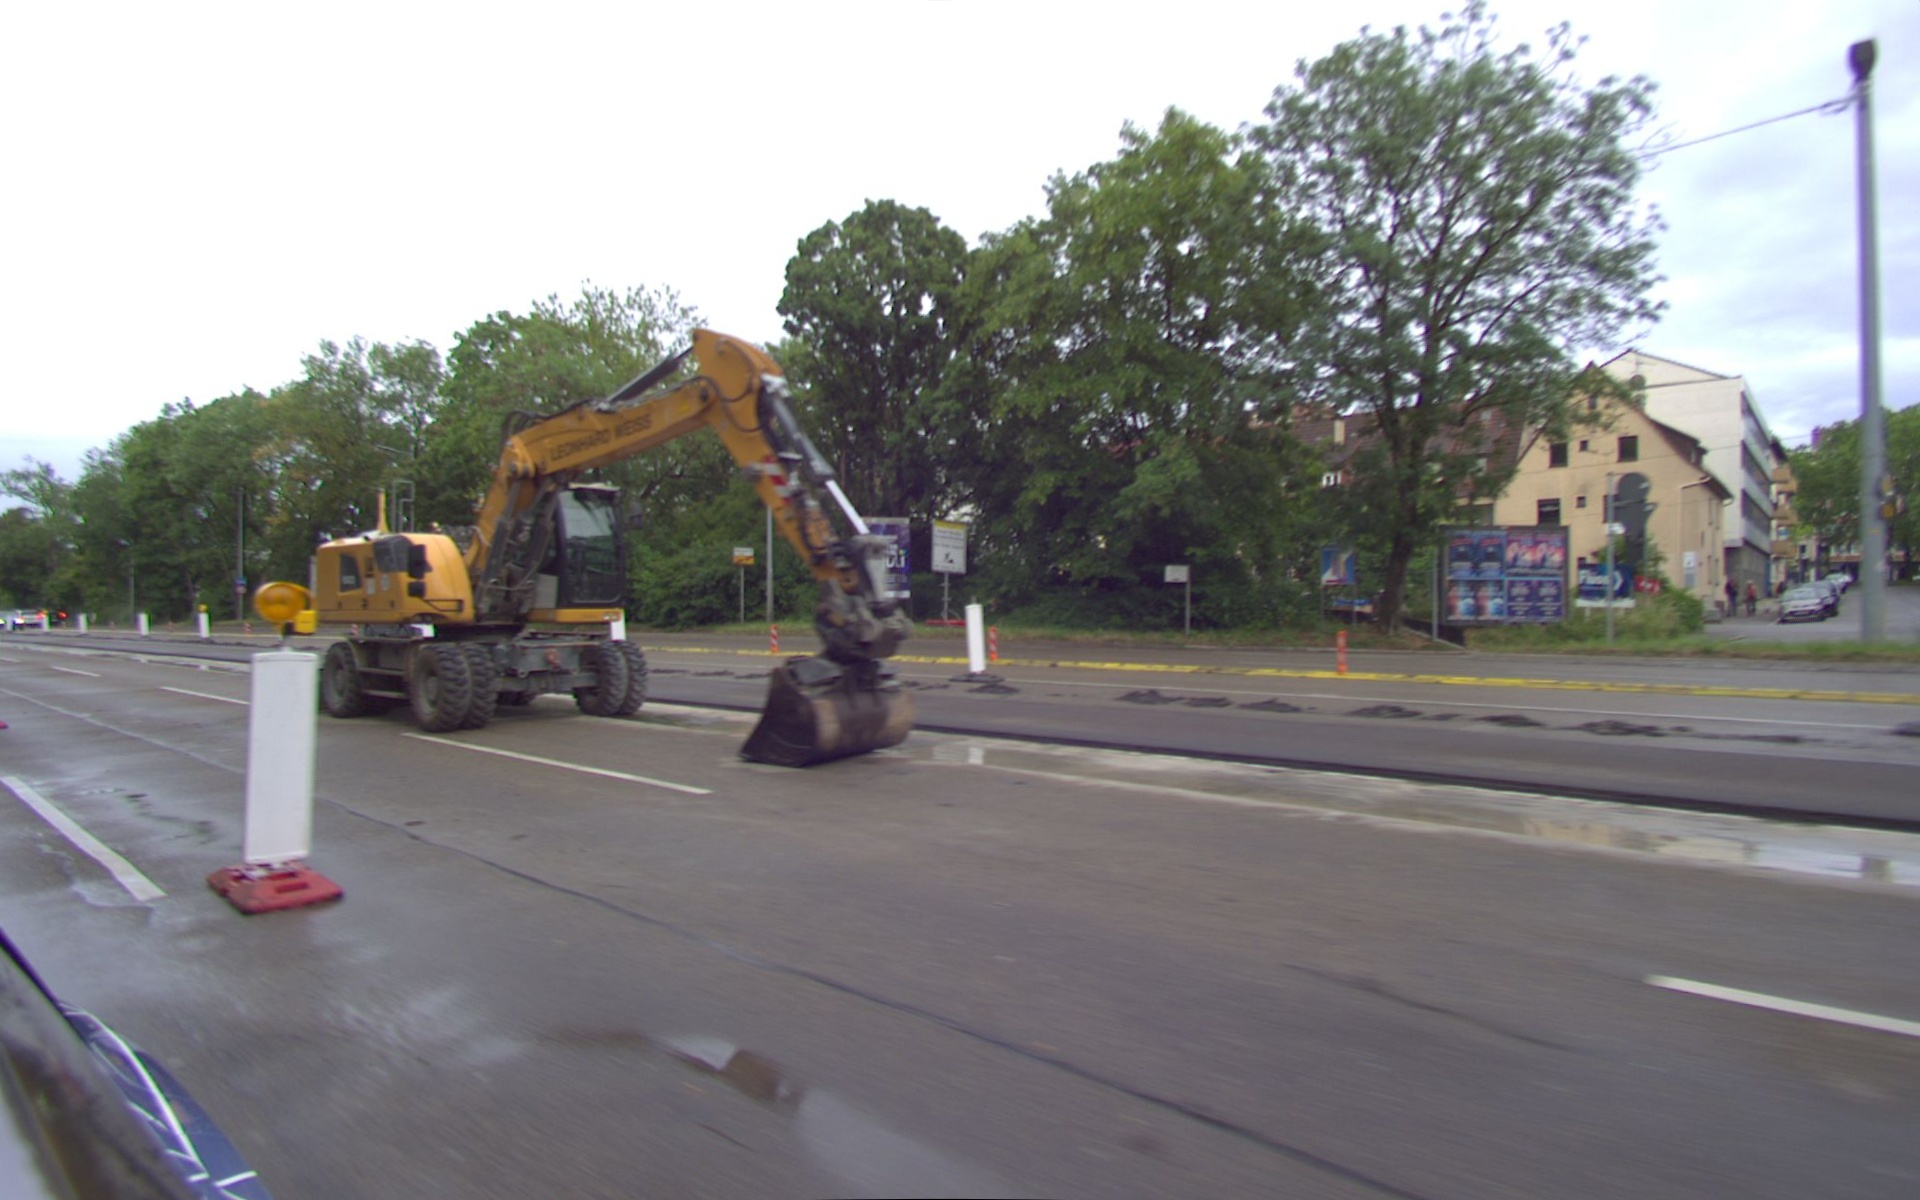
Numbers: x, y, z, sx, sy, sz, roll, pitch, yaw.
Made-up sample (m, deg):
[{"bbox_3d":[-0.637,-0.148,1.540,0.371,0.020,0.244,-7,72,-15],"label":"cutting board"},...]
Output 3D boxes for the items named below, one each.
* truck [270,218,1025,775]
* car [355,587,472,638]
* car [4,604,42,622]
[{"bbox_3d":[-4.530,-0.757,12.188,10.736,4.291,2.871,-1,1,37],"label":"truck"},{"bbox_3d":[-19.077,0.409,35.227,4.808,1.641,1.973,-1,0,40],"label":"car"},{"bbox_3d":[-87.695,1.207,94.695,4.887,1.673,1.872,-1,0,38],"label":"car"}]
